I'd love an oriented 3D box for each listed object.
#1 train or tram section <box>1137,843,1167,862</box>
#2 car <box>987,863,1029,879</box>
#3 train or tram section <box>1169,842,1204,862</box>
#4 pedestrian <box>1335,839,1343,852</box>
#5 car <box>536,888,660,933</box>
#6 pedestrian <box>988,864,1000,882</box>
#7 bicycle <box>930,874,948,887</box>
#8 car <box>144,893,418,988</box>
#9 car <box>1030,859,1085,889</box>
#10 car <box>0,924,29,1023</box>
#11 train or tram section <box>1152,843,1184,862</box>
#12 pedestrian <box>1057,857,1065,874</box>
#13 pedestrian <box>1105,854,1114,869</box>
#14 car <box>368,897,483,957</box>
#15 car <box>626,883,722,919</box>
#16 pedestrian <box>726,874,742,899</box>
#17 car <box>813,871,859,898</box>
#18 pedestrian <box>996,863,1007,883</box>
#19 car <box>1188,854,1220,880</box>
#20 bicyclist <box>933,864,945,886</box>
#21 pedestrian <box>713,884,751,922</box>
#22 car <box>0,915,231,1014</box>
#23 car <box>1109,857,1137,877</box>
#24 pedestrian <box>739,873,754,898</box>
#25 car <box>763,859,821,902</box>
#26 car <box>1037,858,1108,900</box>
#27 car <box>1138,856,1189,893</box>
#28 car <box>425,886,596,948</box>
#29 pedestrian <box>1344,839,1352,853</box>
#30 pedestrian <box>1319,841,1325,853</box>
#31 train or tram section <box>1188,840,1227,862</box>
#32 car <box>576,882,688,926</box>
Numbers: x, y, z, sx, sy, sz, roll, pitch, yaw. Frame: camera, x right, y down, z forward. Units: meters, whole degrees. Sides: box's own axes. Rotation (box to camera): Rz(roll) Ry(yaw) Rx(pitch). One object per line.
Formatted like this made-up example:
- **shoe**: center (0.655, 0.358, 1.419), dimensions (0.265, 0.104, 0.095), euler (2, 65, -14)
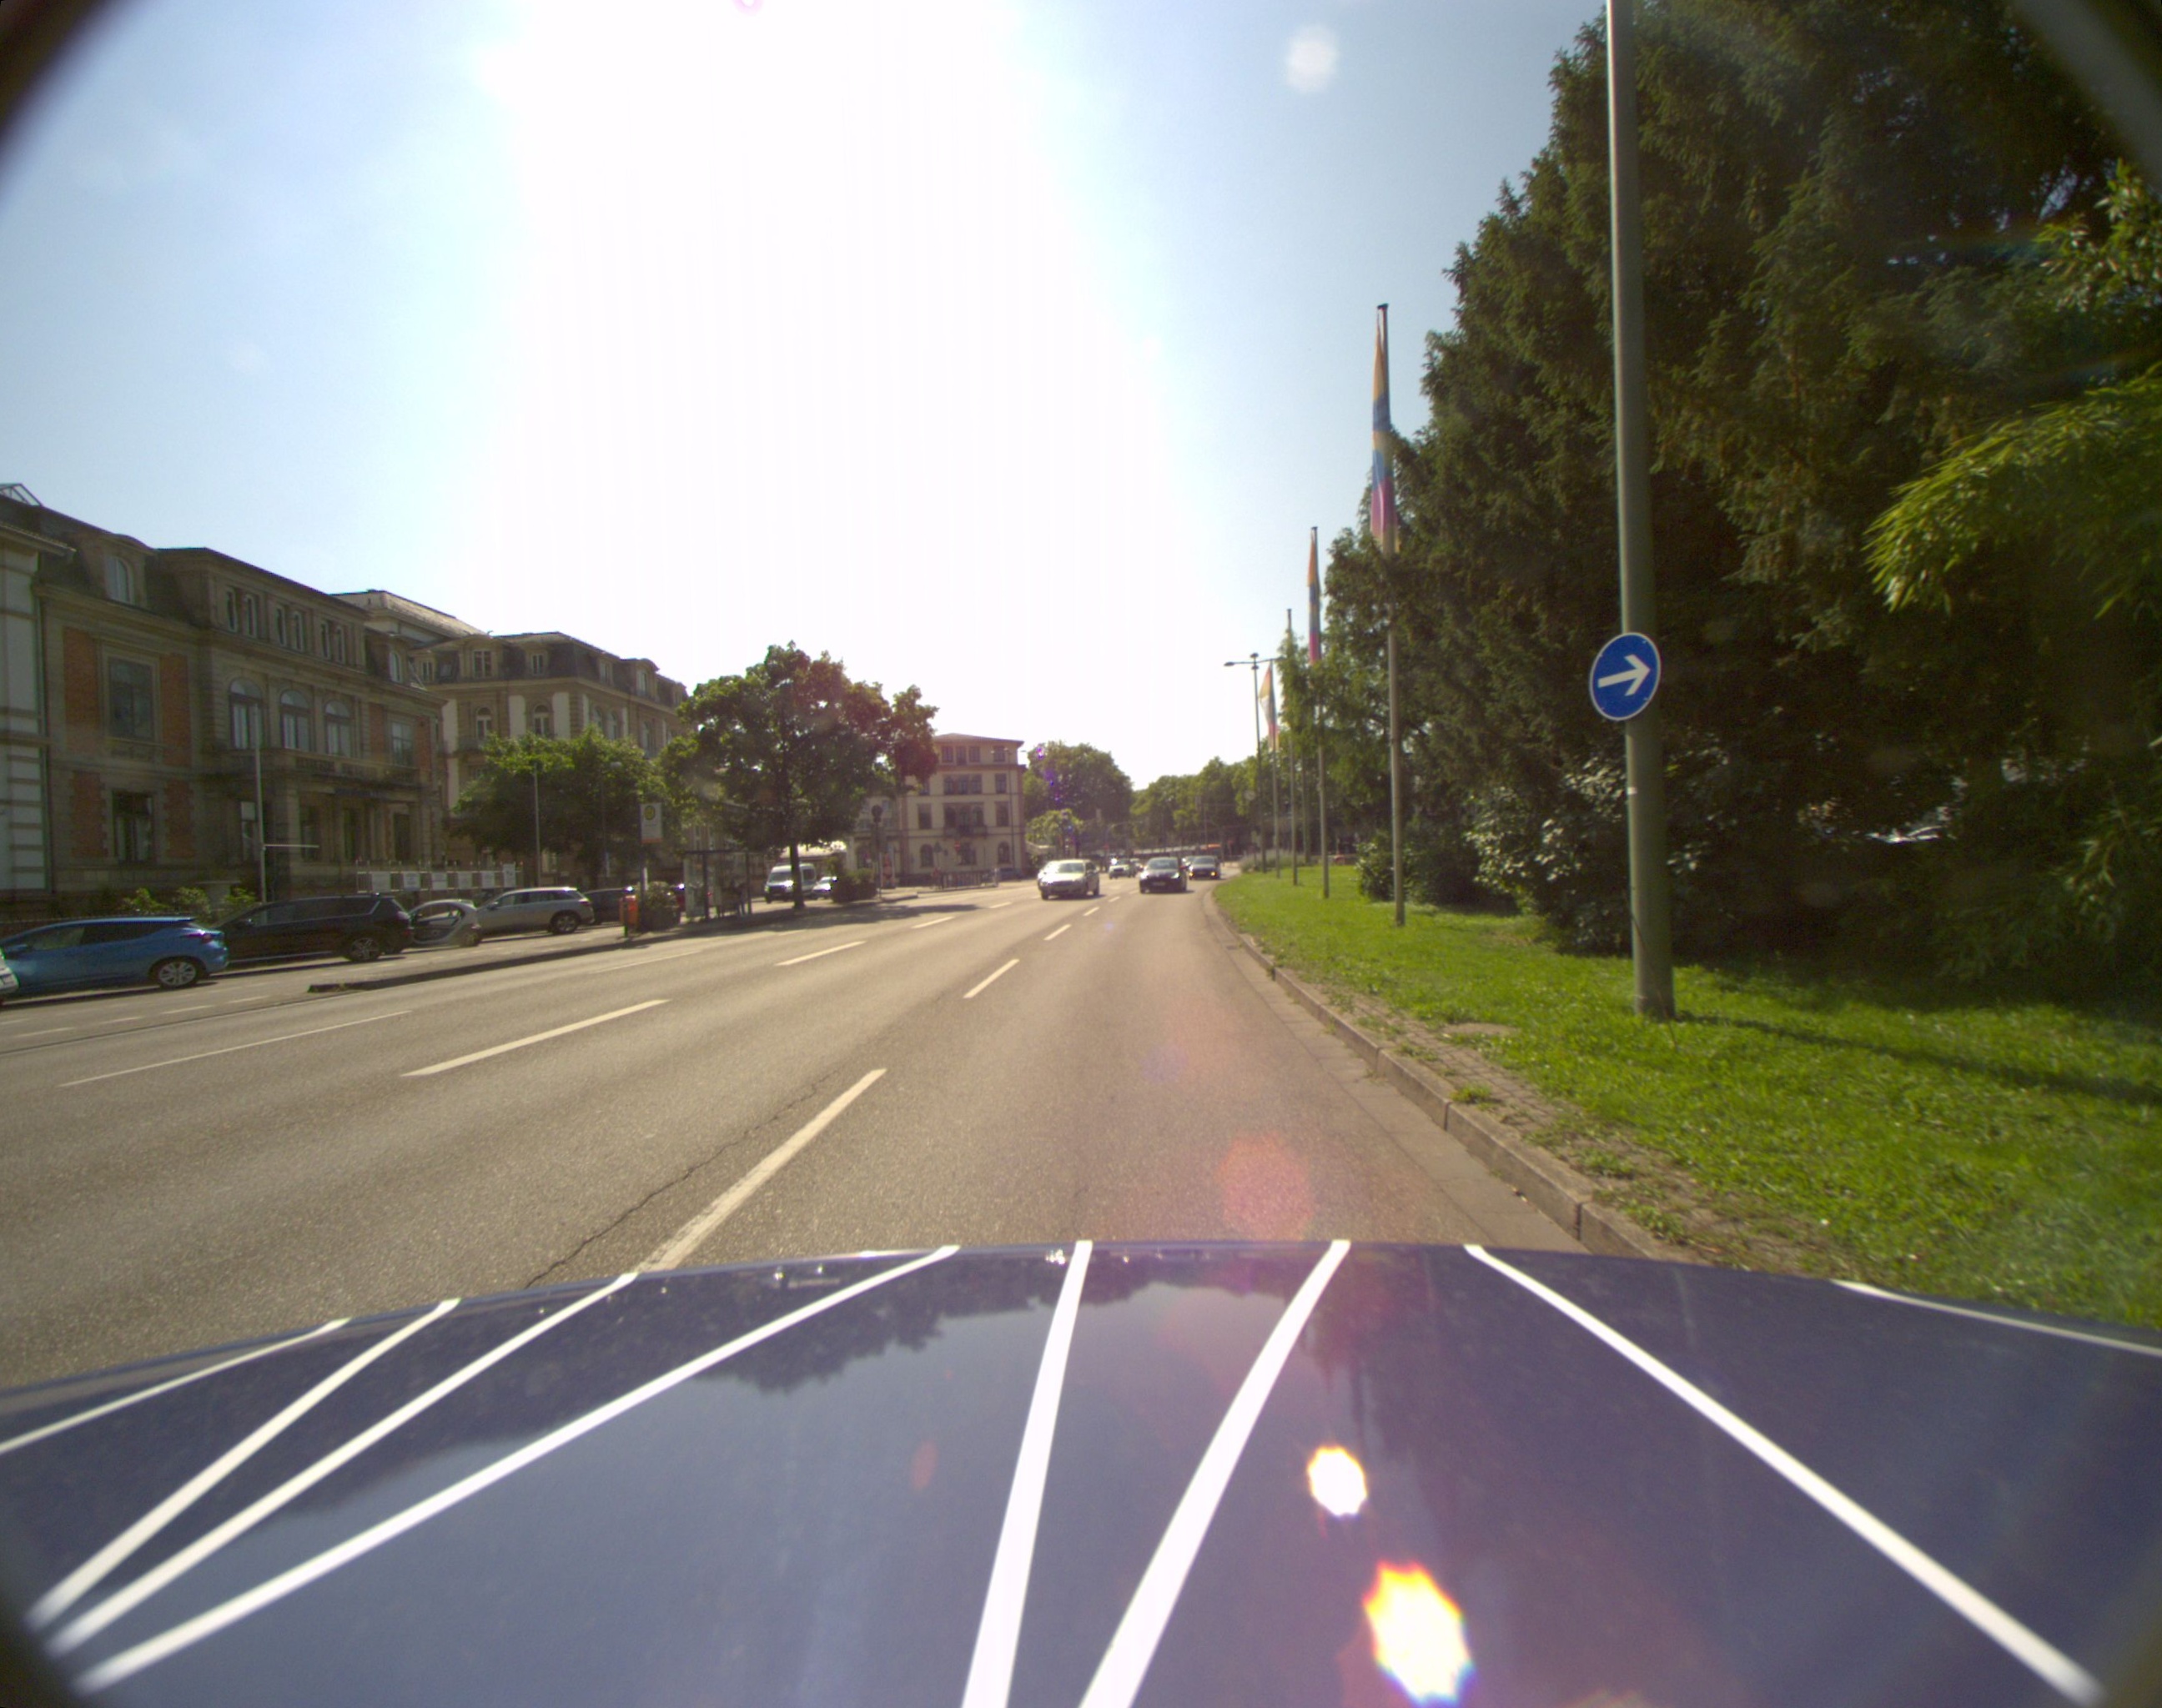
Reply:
- **train or tram section**: center (13.873, -0.255, 149.458), dimensions (2.736, 3.248, 8.727), euler (-3, 0, -15)
- **car**: center (-7.460, 1.739, 77.681), dimensions (3.976, 1.443, 1.790), euler (-1, 0, -15)
- **train or tram section**: center (18.335, -0.331, 132.566), dimensions (2.736, 3.248, 8.727), euler (-3, 0, -15)
- **pedestrian**: center (35.235, -1.126, 103.809), dimensions (0.824, 1.796, 0.670), euler (-2, 1, -13)
- **car**: center (-18.812, 2.150, 29.699), dimensions (3.827, 1.409, 1.602), euler (-3, 0, -41)
- **pedestrian**: center (-7.698, 1.654, 67.203), dimensions (0.772, 1.563, 0.830), euler (-3, 0, 6)
- **bicycle**: center (-10.611, 1.970, 56.845), dimensions (0.592, 0.849, 1.746), euler (-3, 0, 16)
- **car**: center (-18.802, 1.937, 18.103), dimensions (1.709, 1.686, 4.282), euler (-3, 0, 42)
- **car**: center (-1.182, 1.042, 40.139), dimensions (1.789, 1.443, 3.978), euler (-1, 0, 14)
- **car**: center (-18.665, 1.970, 10.955), dimensions (3.819, 1.502, 1.709), euler (-3, 0, -45)
- **train or tram section**: center (16.091, -0.292, 141.008), dimensions (2.736, 3.248, 8.727), euler (-3, 0, -15)
- **pedestrian**: center (-2.206, 1.300, 85.060), dimensions (0.726, 1.794, 0.652), euler (-3, 0, -8)
- **pedestrian**: center (3.528, 0.952, 93.950), dimensions (0.730, 1.834, 0.590), euler (-3, 0, -37)
- **car**: center (-18.950, 2.080, 22.009), dimensions (1.198, 1.474, 2.293), euler (-3, 0, 39)
- **car**: center (-19.403, 2.190, 36.283), dimensions (3.707, 1.410, 1.745), euler (-3, 0, -41)
- **pedestrian**: center (-25.129, 2.322, 55.049), dimensions (0.821, 1.730, 0.750), euler (-3, 0, -7)
- **car**: center (-16.454, 1.999, 51.235), dimensions (1.822, 1.617, 4.878), euler (-3, 0, -5)
- **pedestrian**: center (-6.939, 1.632, 66.243), dimensions (0.753, 1.649, 0.830), euler (-3, 0, 5)
- **car**: center (7.764, 0.780, 47.668), dimensions (1.789, 1.484, 4.092), euler (-1, 0, 12)
- **bicyclist**: center (-10.627, 1.584, 56.847), dimensions (0.592, 1.597, 0.685), euler (-3, 0, 15)
- **pedestrian**: center (-11.891, 1.651, 25.915), dimensions (1.022, 1.190, 0.791), euler (-3, 0, -16)
- **car**: center (-18.707, 2.034, 14.116), dimensions (1.709, 1.433, 3.819), euler (-3, 0, 42)
- **car**: center (3.339, 0.988, 59.819), dimensions (1.790, 1.503, 4.283), euler (-1, 0, 8)
- **pedestrian**: center (-24.257, 2.283, 55.107), dimensions (0.701, 1.741, 0.721), euler (-3, 0, -5)
- **car**: center (-19.057, 1.701, 50.430), dimensions (1.999, 2.588, 5.316), euler (-3, 0, -4)
- **car**: center (-0.246, 0.929, 29.948), dimensions (1.717, 1.491, 4.496), euler (-2, -1, 13)
- **car**: center (3.635, 0.847, 32.952), dimensions (1.789, 1.443, 4.284), euler (-1, 0, 12)
- **car**: center (-19.092, 2.043, 25.571), dimensions (1.709, 1.620, 4.324), euler (-3, 0, 45)
- **pedestrian**: center (36.021, -1.055, 102.482), dimensions (0.824, 1.825, 0.670), euler (-2, 1, -15)
- **pedestrian**: center (34.256, -0.985, 107.994), dimensions (0.564, 1.628, 0.601), euler (-2, 1, 33)
- **train or tram section**: center (20.579, -0.369, 124.163), dimensions (2.736, 3.248, 8.727), euler (-3, 0, -15)
- **car**: center (-19.530, 2.154, 33.133), dimensions (3.884, 1.566, 1.745), euler (-3, 0, -41)
